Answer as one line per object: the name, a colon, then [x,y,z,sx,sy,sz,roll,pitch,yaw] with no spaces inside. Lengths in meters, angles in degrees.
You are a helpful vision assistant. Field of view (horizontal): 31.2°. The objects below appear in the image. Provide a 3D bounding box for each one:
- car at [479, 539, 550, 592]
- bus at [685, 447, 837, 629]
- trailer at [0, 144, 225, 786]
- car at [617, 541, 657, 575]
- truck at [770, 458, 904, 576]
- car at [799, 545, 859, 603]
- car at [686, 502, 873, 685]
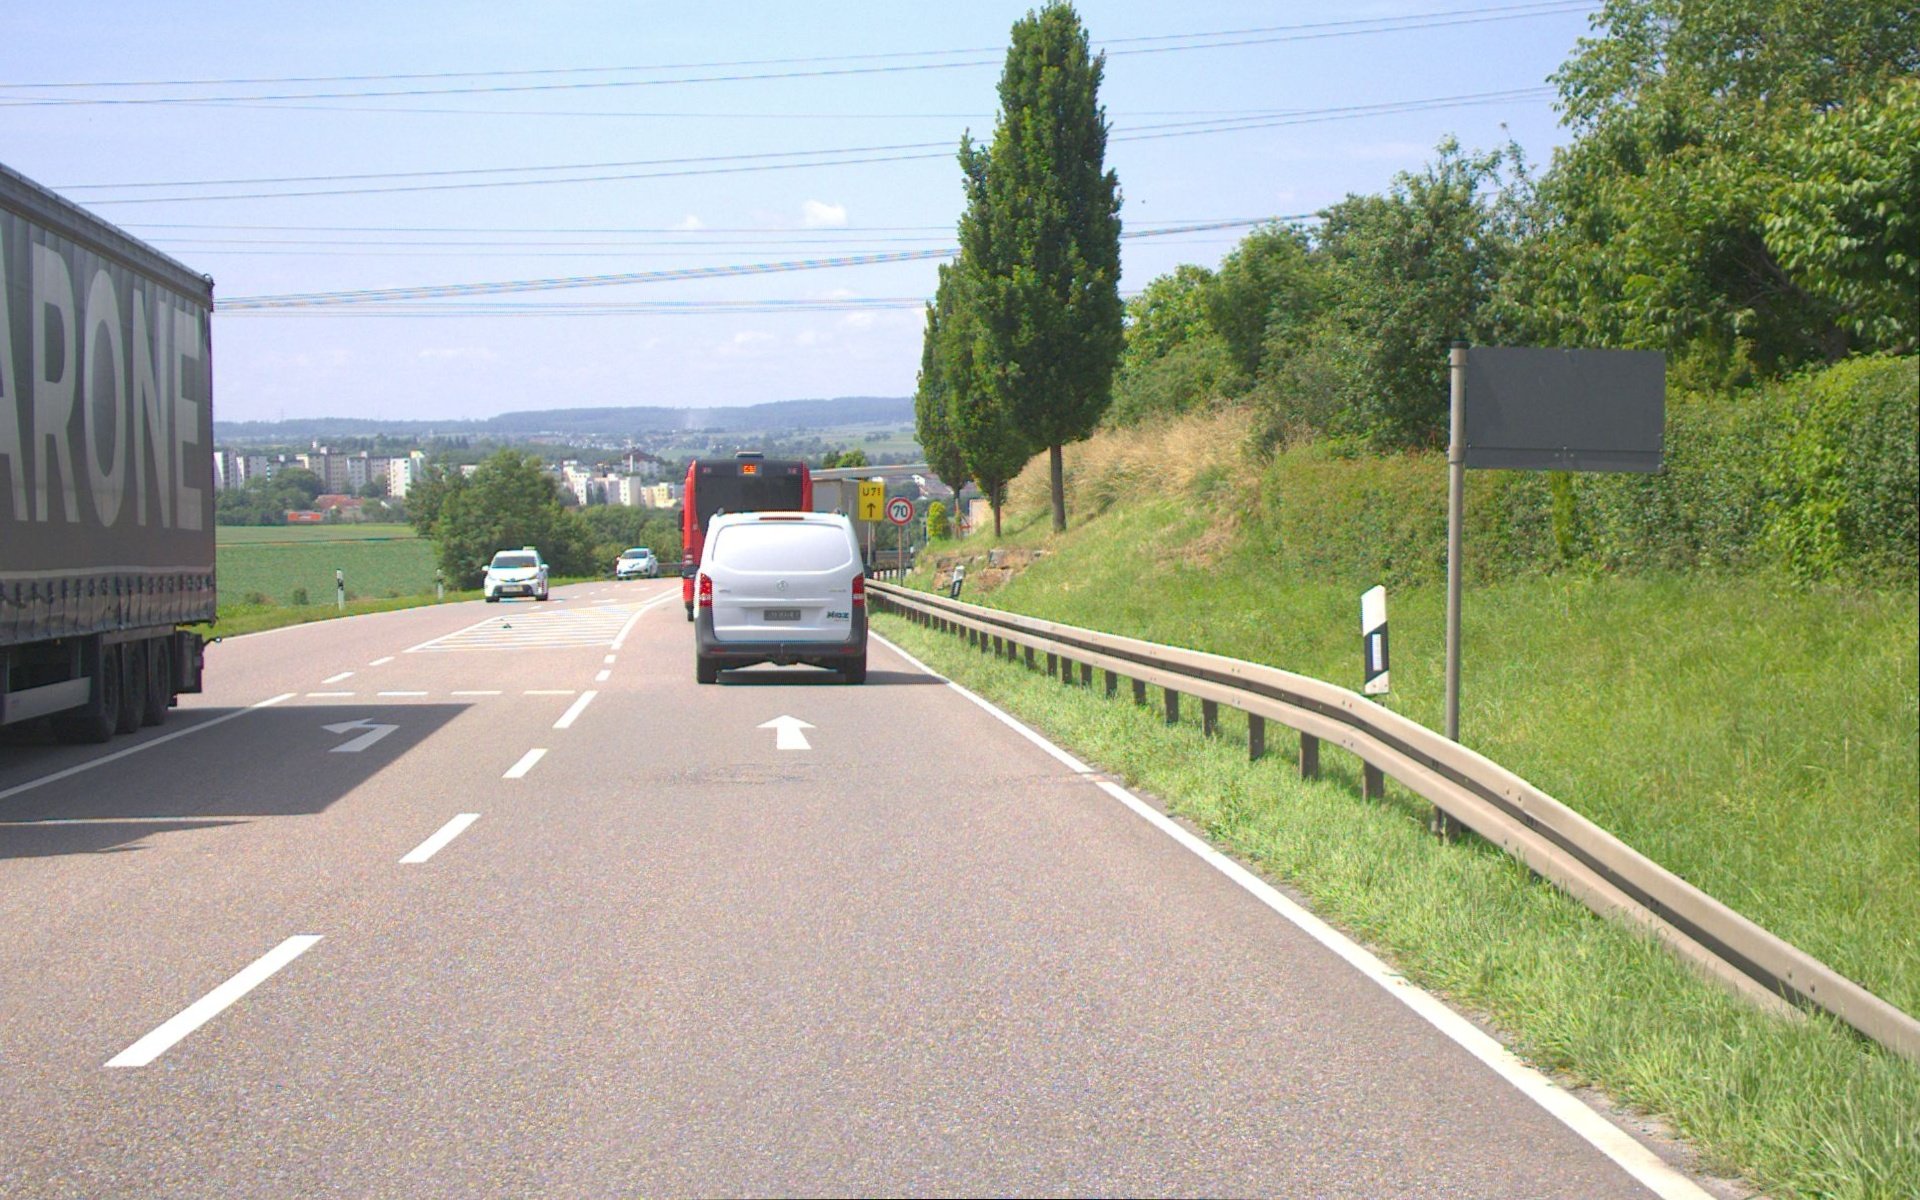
car: [-13.837,-1.083,107.059,1.853,1.560,4.075,-2,1,-3]
bus: [-4.278,-1.491,73.074,2.747,3.341,13.225,-3,3,-4]
trailer: [-7.724,-0.923,25.438,2.592,4.128,13.743,-1,1,-4]
car: [-16.547,-2.160,176.312,1.766,1.681,3.826,-2,1,-2]
truck: [-4.817,-3.350,138.423,3.489,4.408,14.900,-1,1,5]
car: [-4.372,-0.897,115.518,1.885,1.810,3.765,-2,1,-1]
car: [-1.995,-0.118,38.704,1.923,1.883,4.001,-2,2,-2]
